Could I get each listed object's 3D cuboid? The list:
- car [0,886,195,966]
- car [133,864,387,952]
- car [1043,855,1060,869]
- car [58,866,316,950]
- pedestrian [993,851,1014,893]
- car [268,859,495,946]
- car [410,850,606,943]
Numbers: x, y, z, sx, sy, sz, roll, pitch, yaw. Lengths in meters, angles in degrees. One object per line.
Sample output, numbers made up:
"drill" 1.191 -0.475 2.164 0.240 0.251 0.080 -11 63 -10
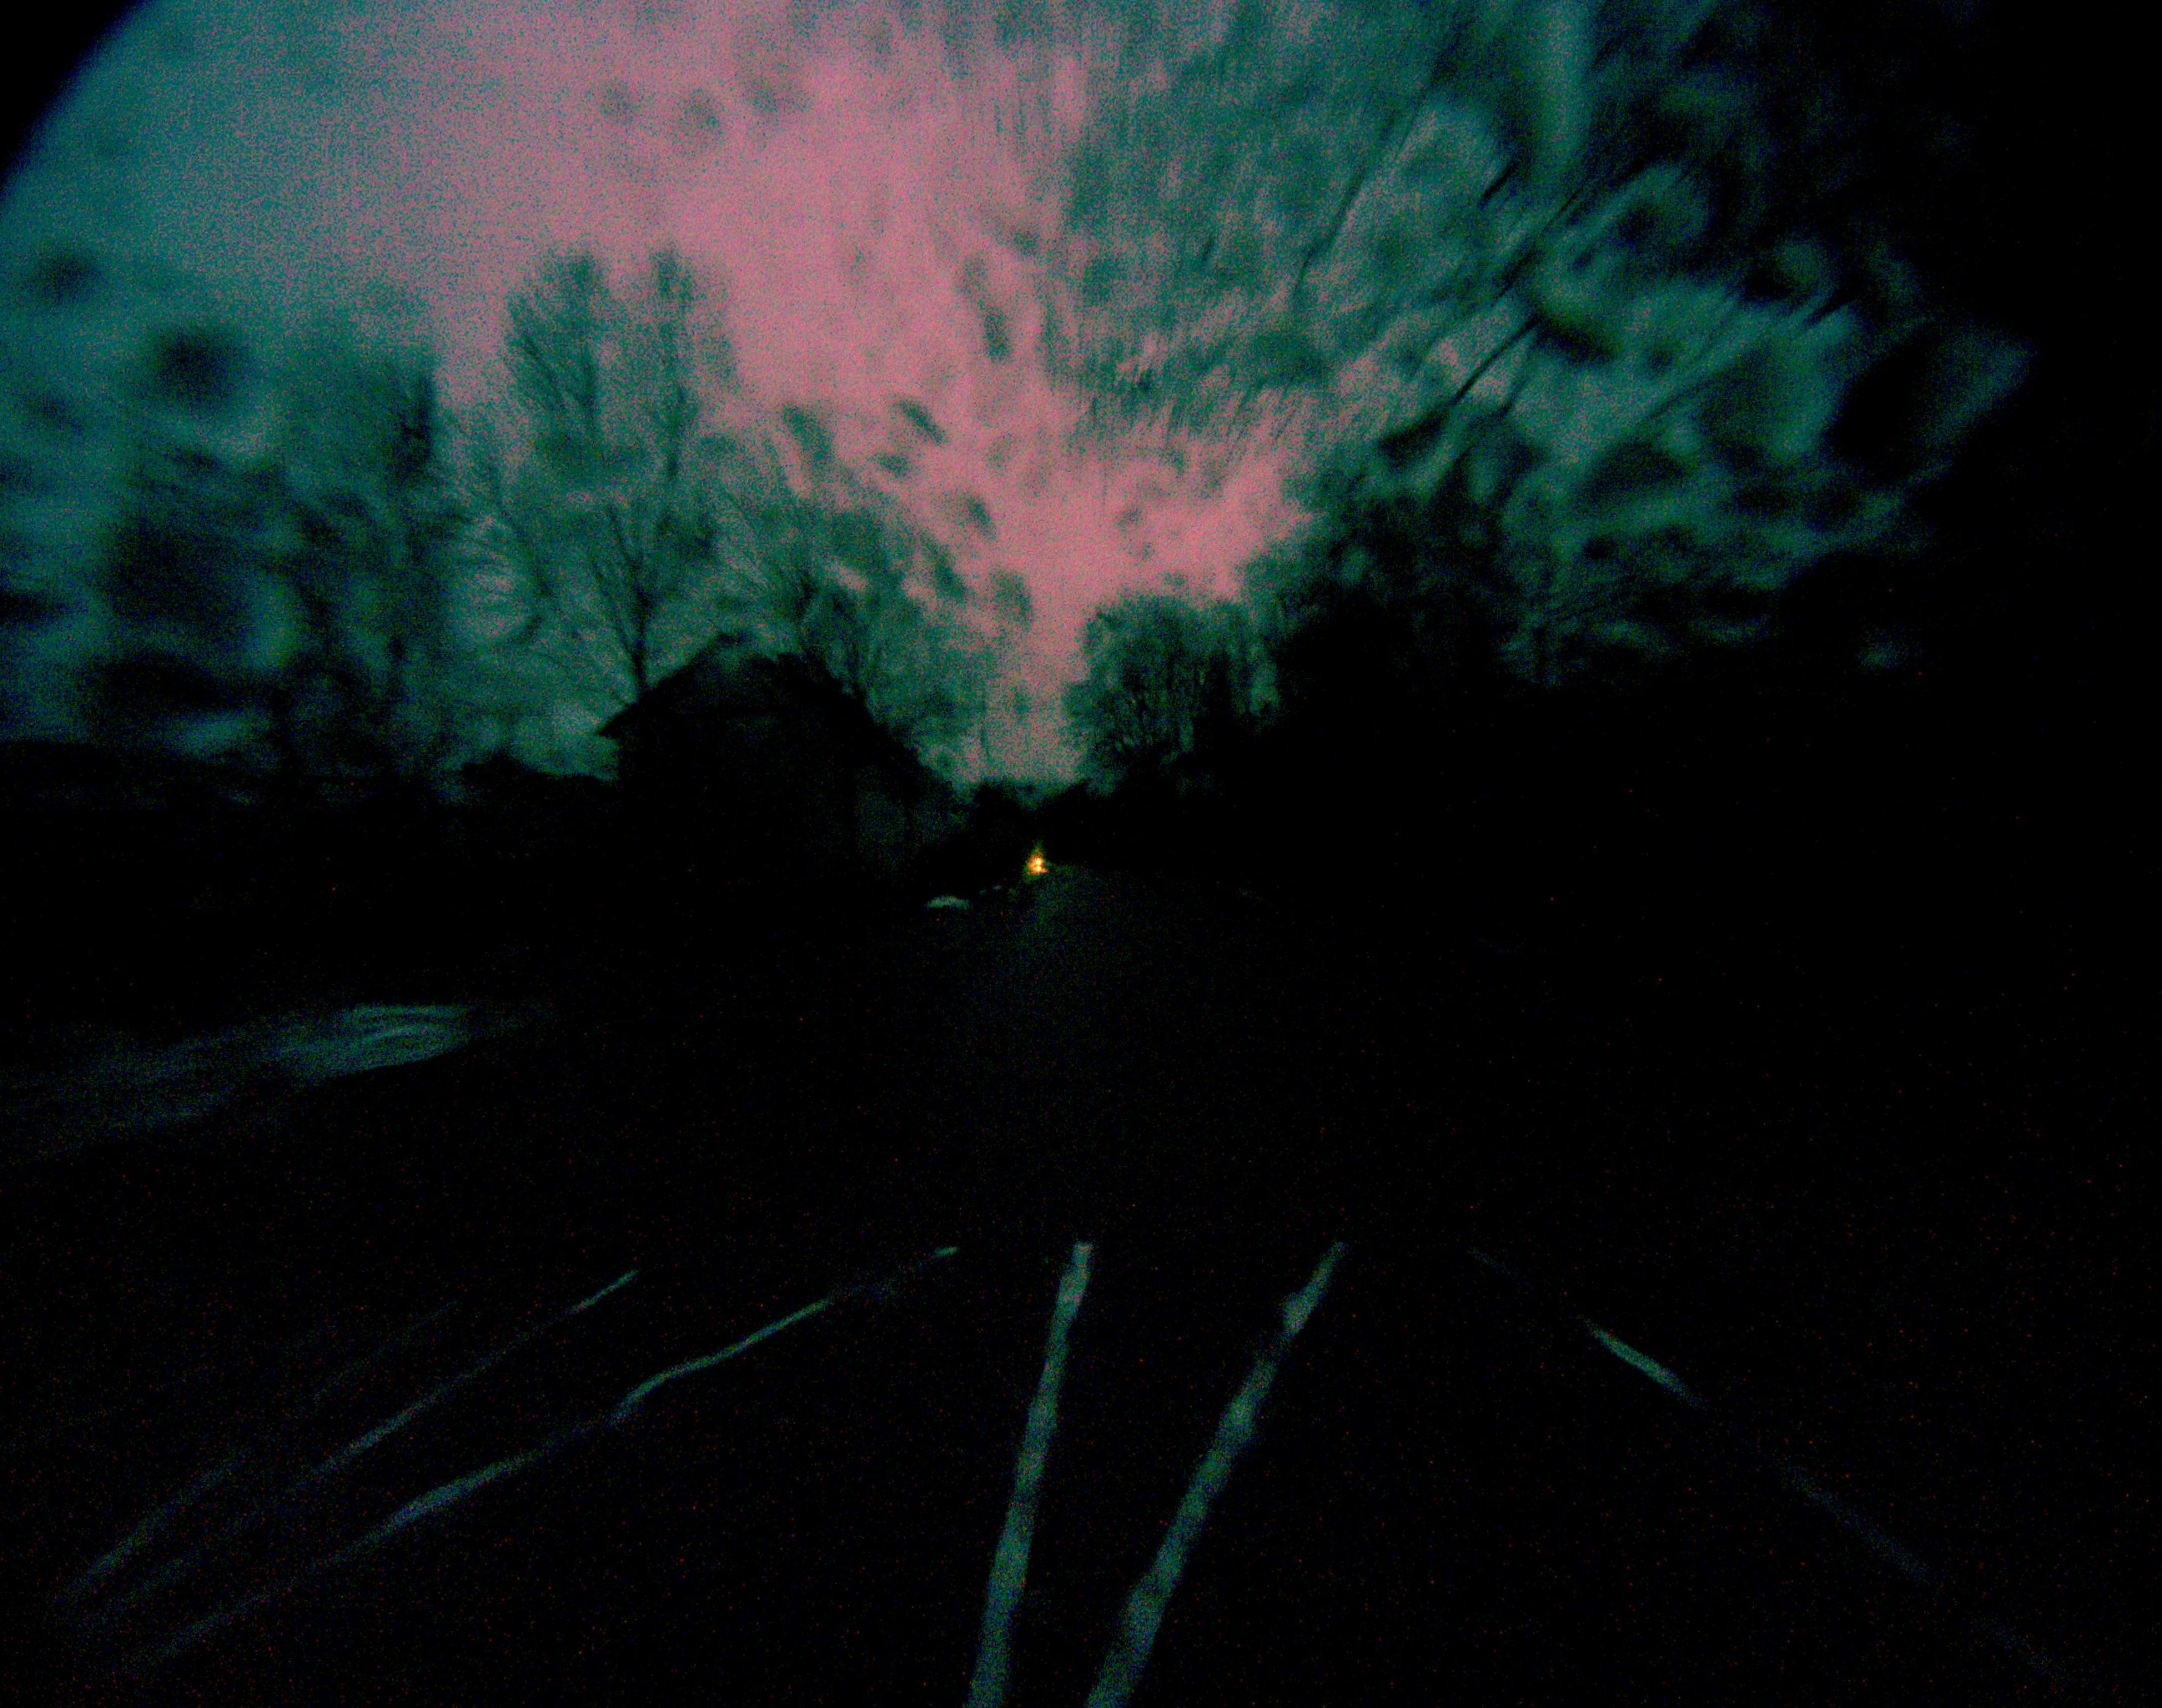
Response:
"car" -23.028 1.570 17.365 1.472 1.271 3.397 -1 4 -1
"car" -18.354 1.127 17.283 1.642 1.465 3.736 -1 4 -1
"car" -3.569 0.952 91.144 1.709 1.497 4.021 -2 1 -7
"car" -21.074 1.190 18.189 1.642 1.465 3.736 -1 4 -1
"pedestrian" -3.100 0.718 30.327 0.745 1.645 0.970 -1 0 -2
"car" -15.680 1.005 17.343 1.642 1.465 3.736 -1 4 -1
"car" -13.033 0.880 17.618 1.642 1.674 3.736 -1 4 -1
